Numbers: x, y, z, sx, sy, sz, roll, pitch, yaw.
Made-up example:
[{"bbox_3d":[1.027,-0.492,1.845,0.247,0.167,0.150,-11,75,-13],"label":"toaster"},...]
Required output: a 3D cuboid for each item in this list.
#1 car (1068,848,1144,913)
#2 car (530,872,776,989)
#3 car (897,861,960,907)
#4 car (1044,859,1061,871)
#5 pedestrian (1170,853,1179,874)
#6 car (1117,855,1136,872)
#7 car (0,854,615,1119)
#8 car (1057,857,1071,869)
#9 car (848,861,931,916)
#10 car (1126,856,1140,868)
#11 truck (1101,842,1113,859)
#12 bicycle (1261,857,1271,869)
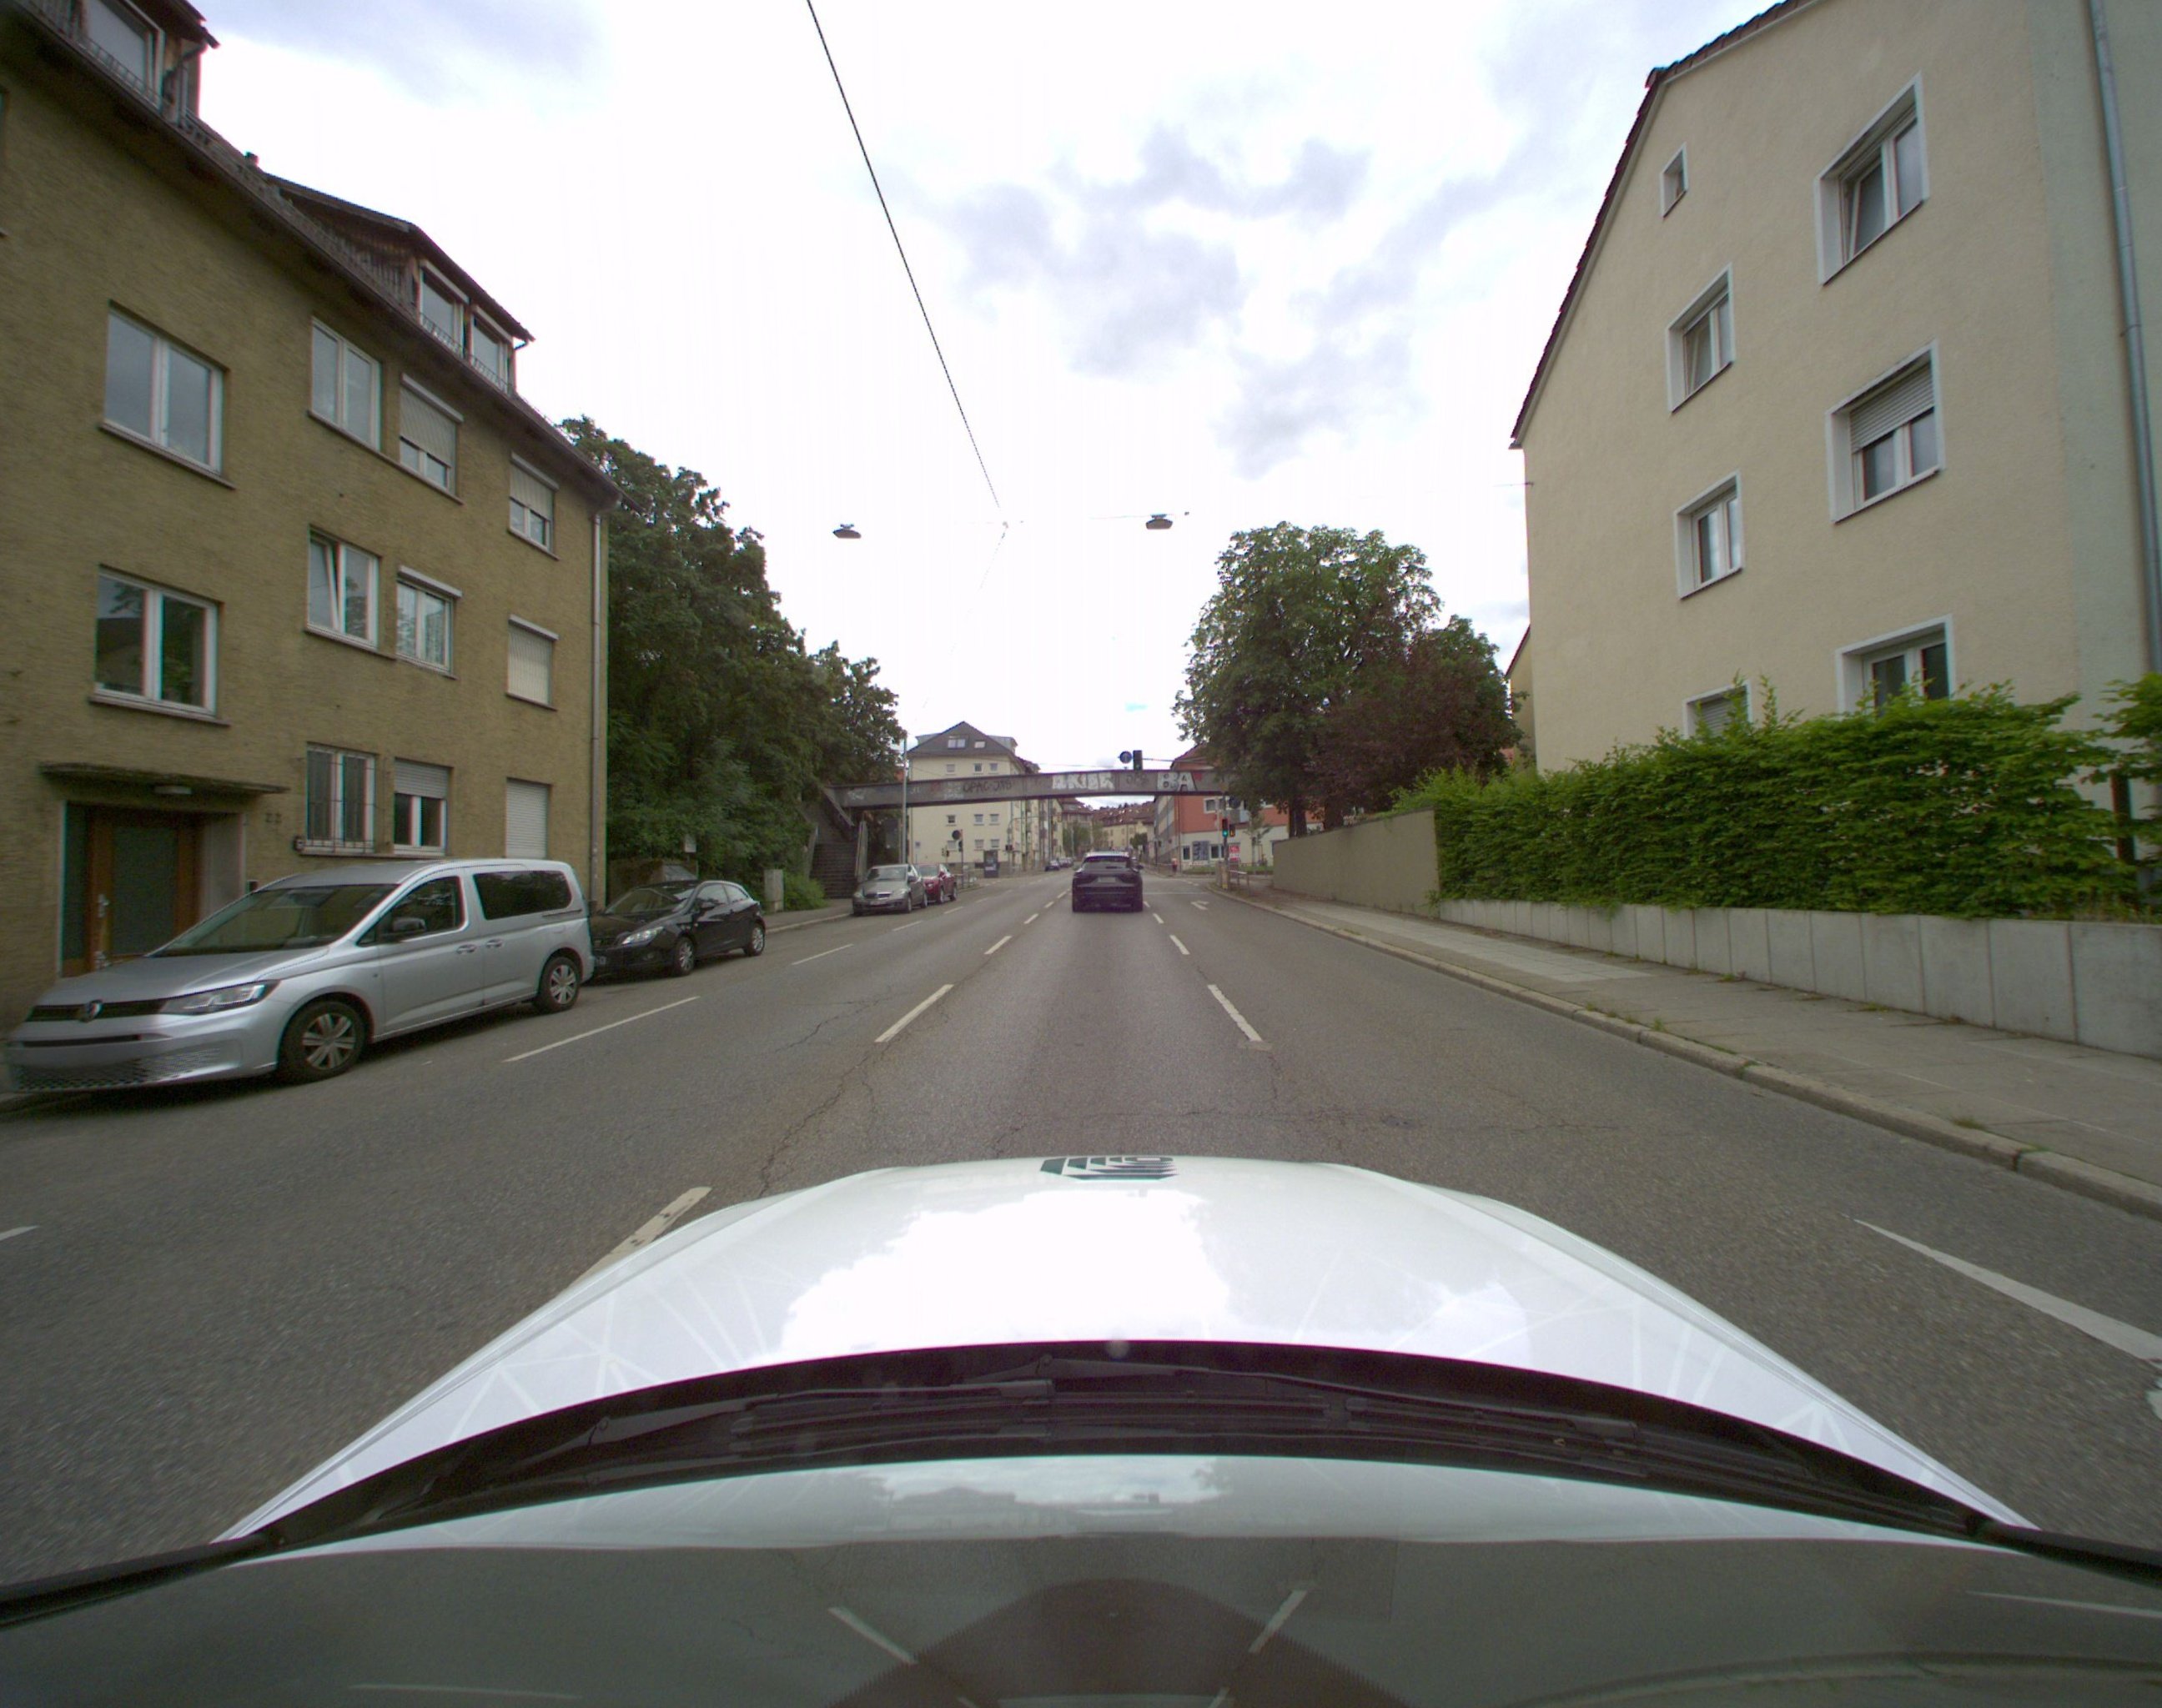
[{"bbox_3d":[0.749,0.695,23.660,1.986,1.662,4.002,-1,1,2],"label":"car"},{"bbox_3d":[-6.609,1.097,13.131,1.739,1.439,3.915,-3,0,2],"label":"car"},{"bbox_3d":[-5.858,1.112,31.679,1.528,1.540,3.984,-3,0,2],"label":"car"},{"bbox_3d":[-3.650,1.408,104.539,1.758,1.508,4.003,-2,0,3],"label":"car"},{"bbox_3d":[7.917,0.794,69.192,0.650,1.792,0.714,-1,0,-1],"label":"pedestrian"},{"bbox_3d":[4.261,0.874,76.324,1.734,1.400,4.002,-1,1,2],"label":"car"},{"bbox_3d":[-6.804,0.917,7.875,1.770,1.754,4.559,-3,0,2],"label":"car"},{"bbox_3d":[-2.542,1.292,121.138,1.758,1.650,4.003,-2,0,3],"label":"car"},{"bbox_3d":[-6.226,1.073,26.895,1.740,1.568,3.907,-3,0,0],"label":"car"},{"bbox_3d":[6.624,1.029,104.411,1.734,1.400,4.002,-1,1,2],"label":"car"},{"bbox_3d":[5.398,-0.682,169.688,2.258,3.424,9.882,-2,0,2],"label":"truck"},{"bbox_3d":[14.501,0.730,63.887,0.337,0.903,1.754,-1,-1,25],"label":"bicycle"}]
